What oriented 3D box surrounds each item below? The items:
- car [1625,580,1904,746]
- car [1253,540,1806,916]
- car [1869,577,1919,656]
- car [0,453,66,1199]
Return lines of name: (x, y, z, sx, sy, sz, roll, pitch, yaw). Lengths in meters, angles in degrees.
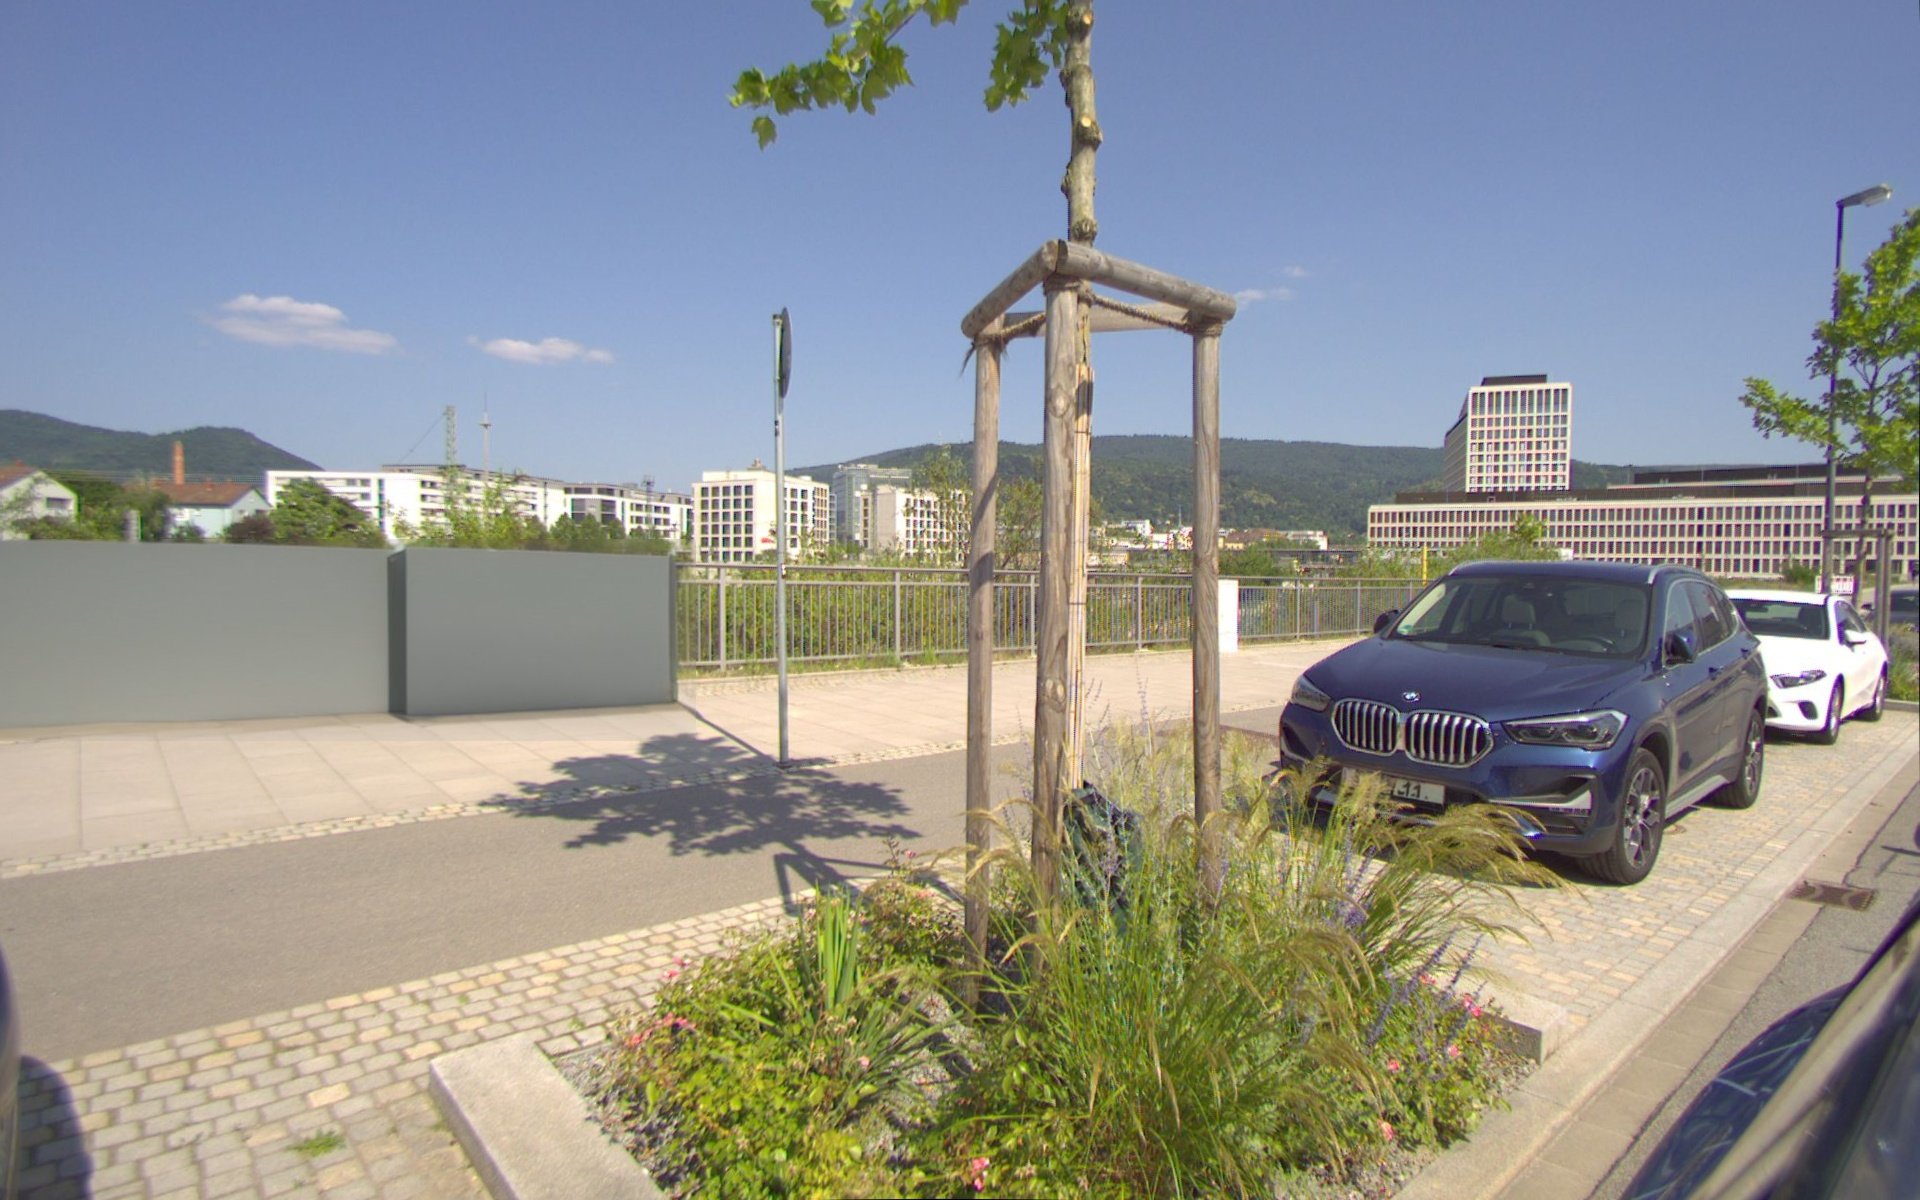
car: (8.758, 0.538, 10.906, 3.930, 1.473, 1.663, -1, 0, -41)
car: (3.803, 0.528, 6.422, 4.164, 1.627, 1.768, -1, 0, -41)
car: (20.417, 0.304, 21.131, 3.930, 1.558, 1.663, -1, 0, -41)
car: (-2.970, 0.541, 0.378, 3.931, 1.443, 1.664, -1, 4, -42)
